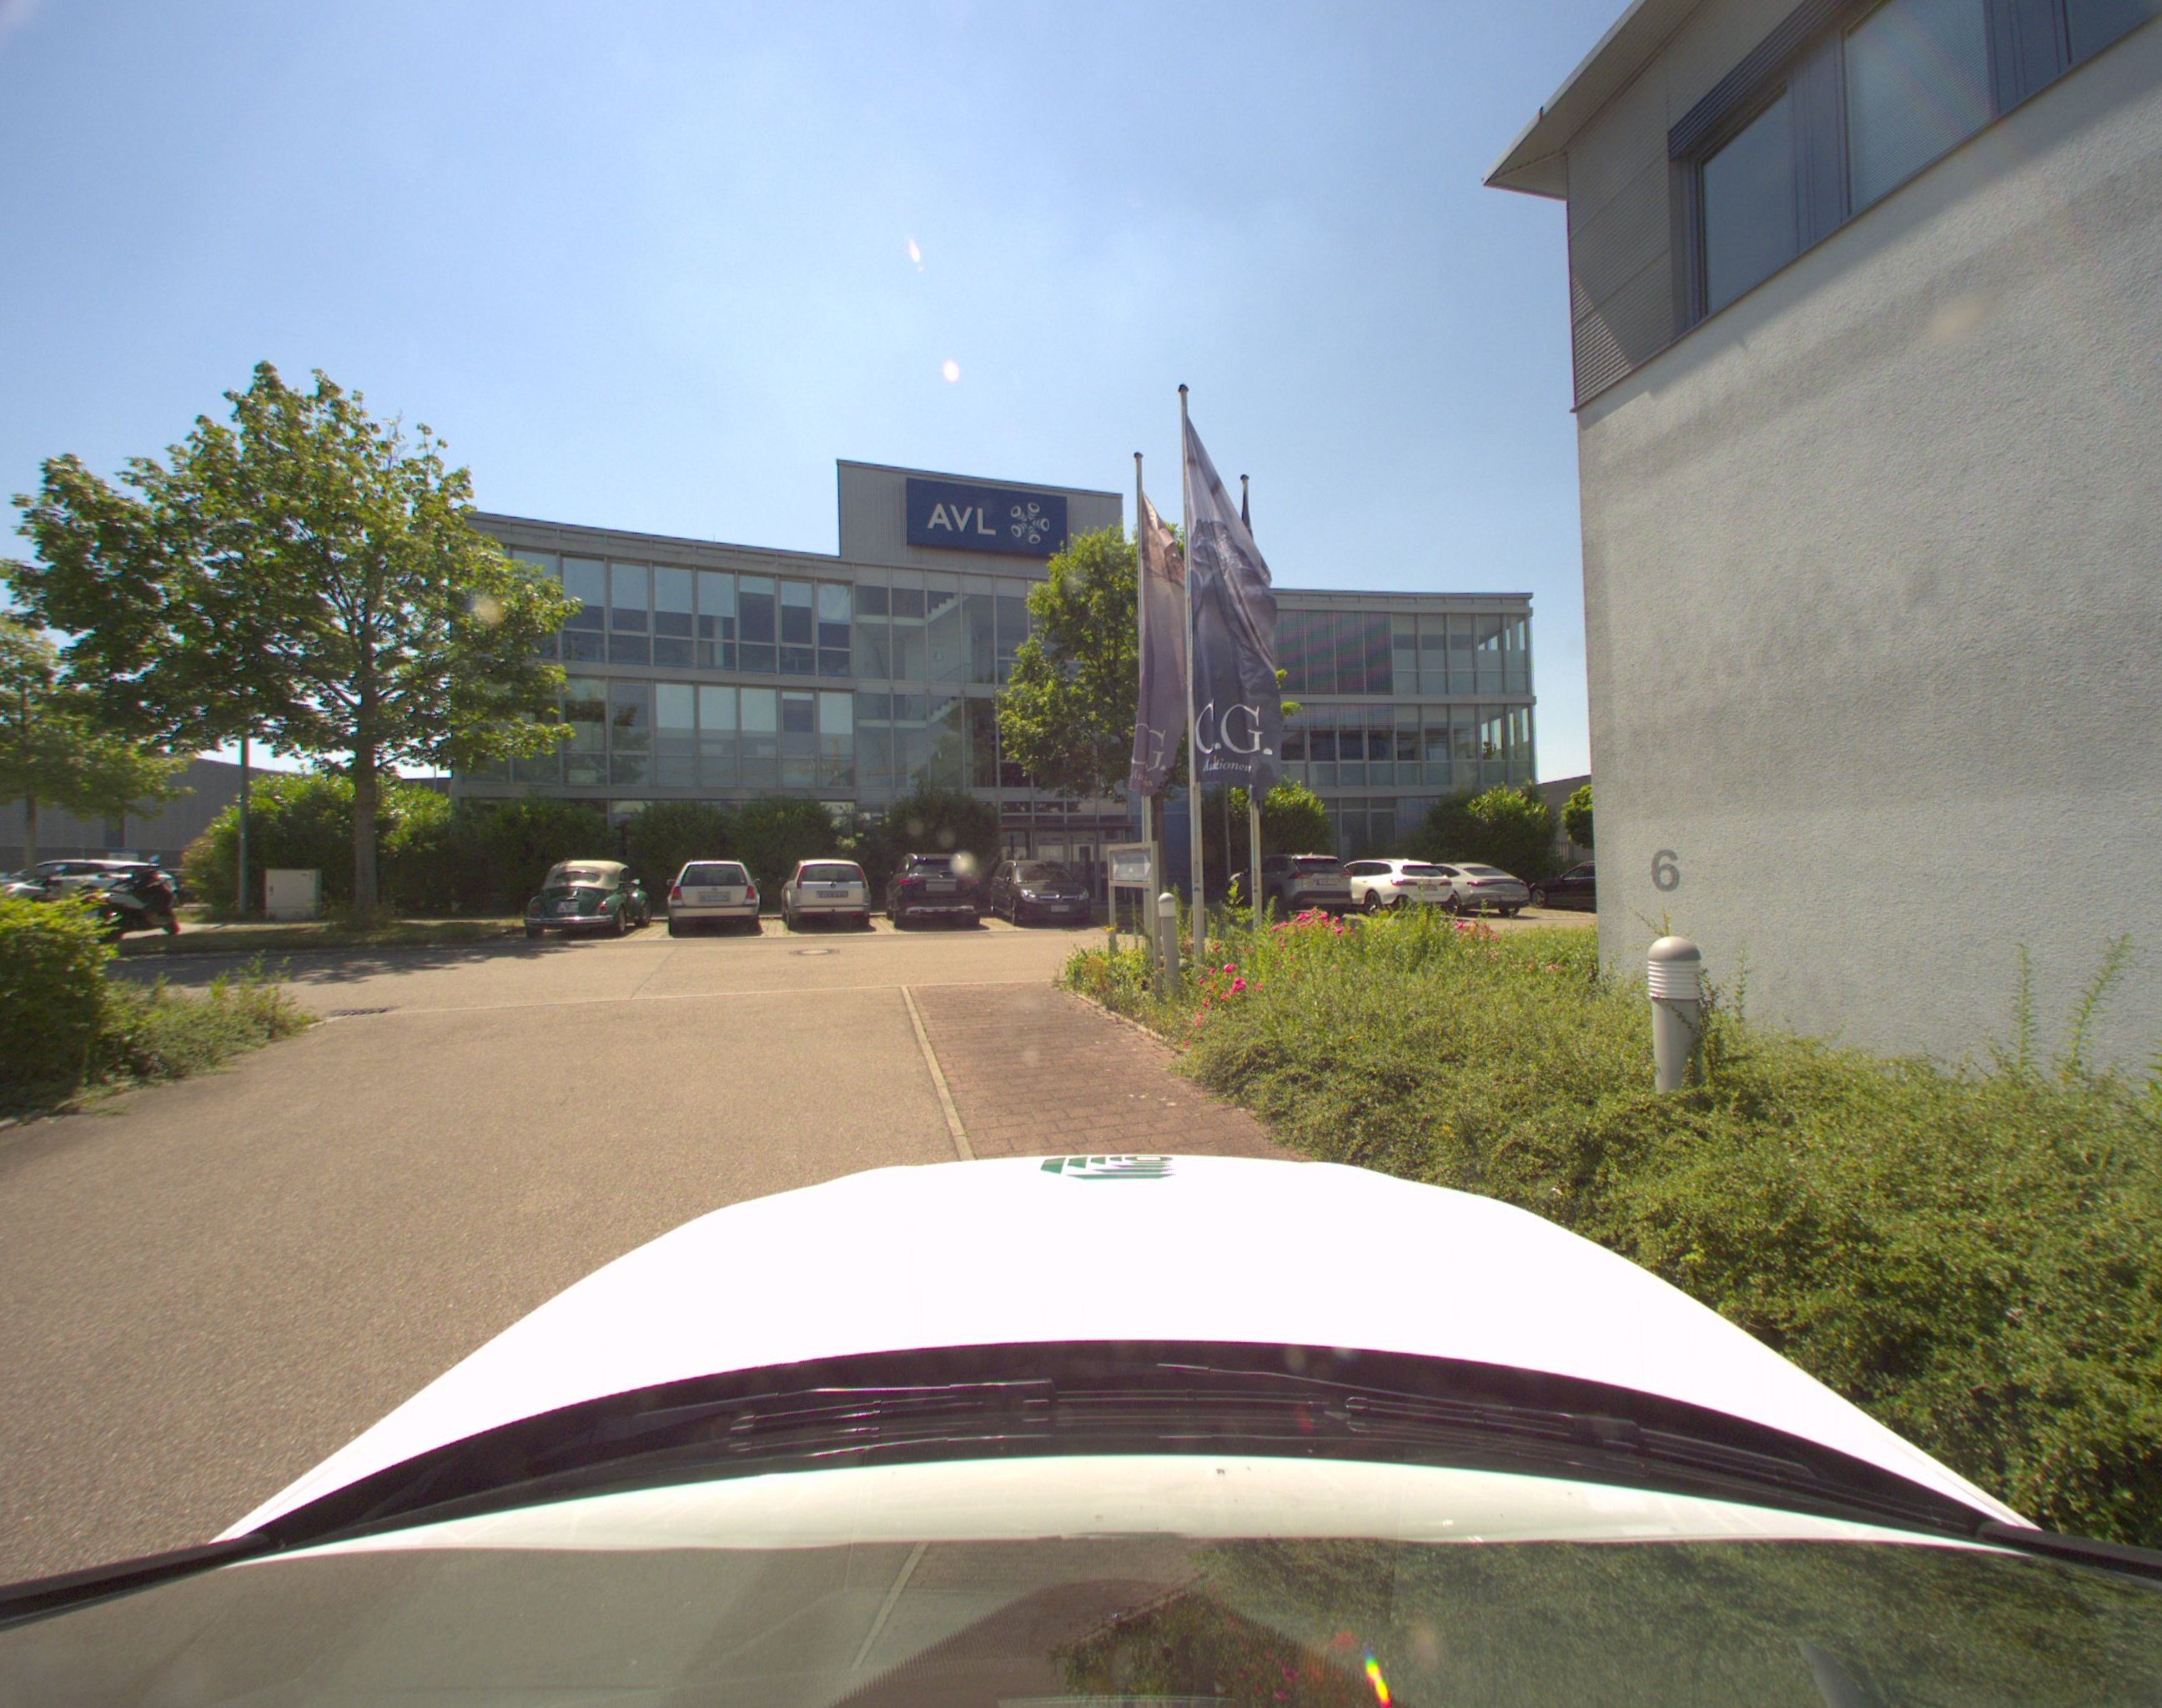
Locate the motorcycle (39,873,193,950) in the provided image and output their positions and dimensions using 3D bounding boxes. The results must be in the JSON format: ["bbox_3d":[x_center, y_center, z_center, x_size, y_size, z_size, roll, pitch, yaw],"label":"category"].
[{"bbox_3d":[-16.338,0.930,13.867,0.715,1.138,1.946,-1,0,-17],"label":"motorcycle"}]

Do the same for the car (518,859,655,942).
[{"bbox_3d":[-9.845,0.849,16.489,1.546,1.449,3.632,0,0,-18],"label":"car"}]

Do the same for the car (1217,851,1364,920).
[{"bbox_3d":[5.451,0.757,21.835,1.824,1.619,4.314,-1,0,-17],"label":"car"}]

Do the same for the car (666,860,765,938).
[{"bbox_3d":[-7.697,0.861,17.429,1.738,1.449,3.627,0,0,-22],"label":"car"}]

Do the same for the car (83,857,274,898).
[{"bbox_3d":[-34.051,0.858,30.842,4.827,1.491,1.998,0,0,-3],"label":"car"}]

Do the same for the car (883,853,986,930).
[{"bbox_3d":[-3.552,0.782,19.168,1.932,1.610,3.963,0,0,-17],"label":"car"}]

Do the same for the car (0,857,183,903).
[{"bbox_3d":[-34.231,0.851,27.775,4.827,1.491,1.998,0,0,-3],"label":"car"}]

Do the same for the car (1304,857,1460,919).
[{"bbox_3d":[8.022,0.845,22.142,1.740,1.492,4.314,0,0,-17],"label":"car"}]

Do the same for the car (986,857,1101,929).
[{"bbox_3d":[-1.031,0.848,19.774,1.774,1.482,4.234,-1,0,-17],"label":"car"}]

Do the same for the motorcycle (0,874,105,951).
[{"bbox_3d":[-17.515,0.943,13.513,0.715,1.138,1.946,-1,0,-17],"label":"motorcycle"}]

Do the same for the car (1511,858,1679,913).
[{"bbox_3d":[15.020,0.851,24.141,1.734,1.447,4.536,0,0,-8],"label":"car"}]

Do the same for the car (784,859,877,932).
[{"bbox_3d":[-5.813,0.859,18.655,1.772,1.449,3.627,0,0,-22],"label":"car"}]

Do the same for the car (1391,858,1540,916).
[{"bbox_3d":[10.627,0.857,22.899,1.734,1.429,4.328,0,0,-8],"label":"car"}]
